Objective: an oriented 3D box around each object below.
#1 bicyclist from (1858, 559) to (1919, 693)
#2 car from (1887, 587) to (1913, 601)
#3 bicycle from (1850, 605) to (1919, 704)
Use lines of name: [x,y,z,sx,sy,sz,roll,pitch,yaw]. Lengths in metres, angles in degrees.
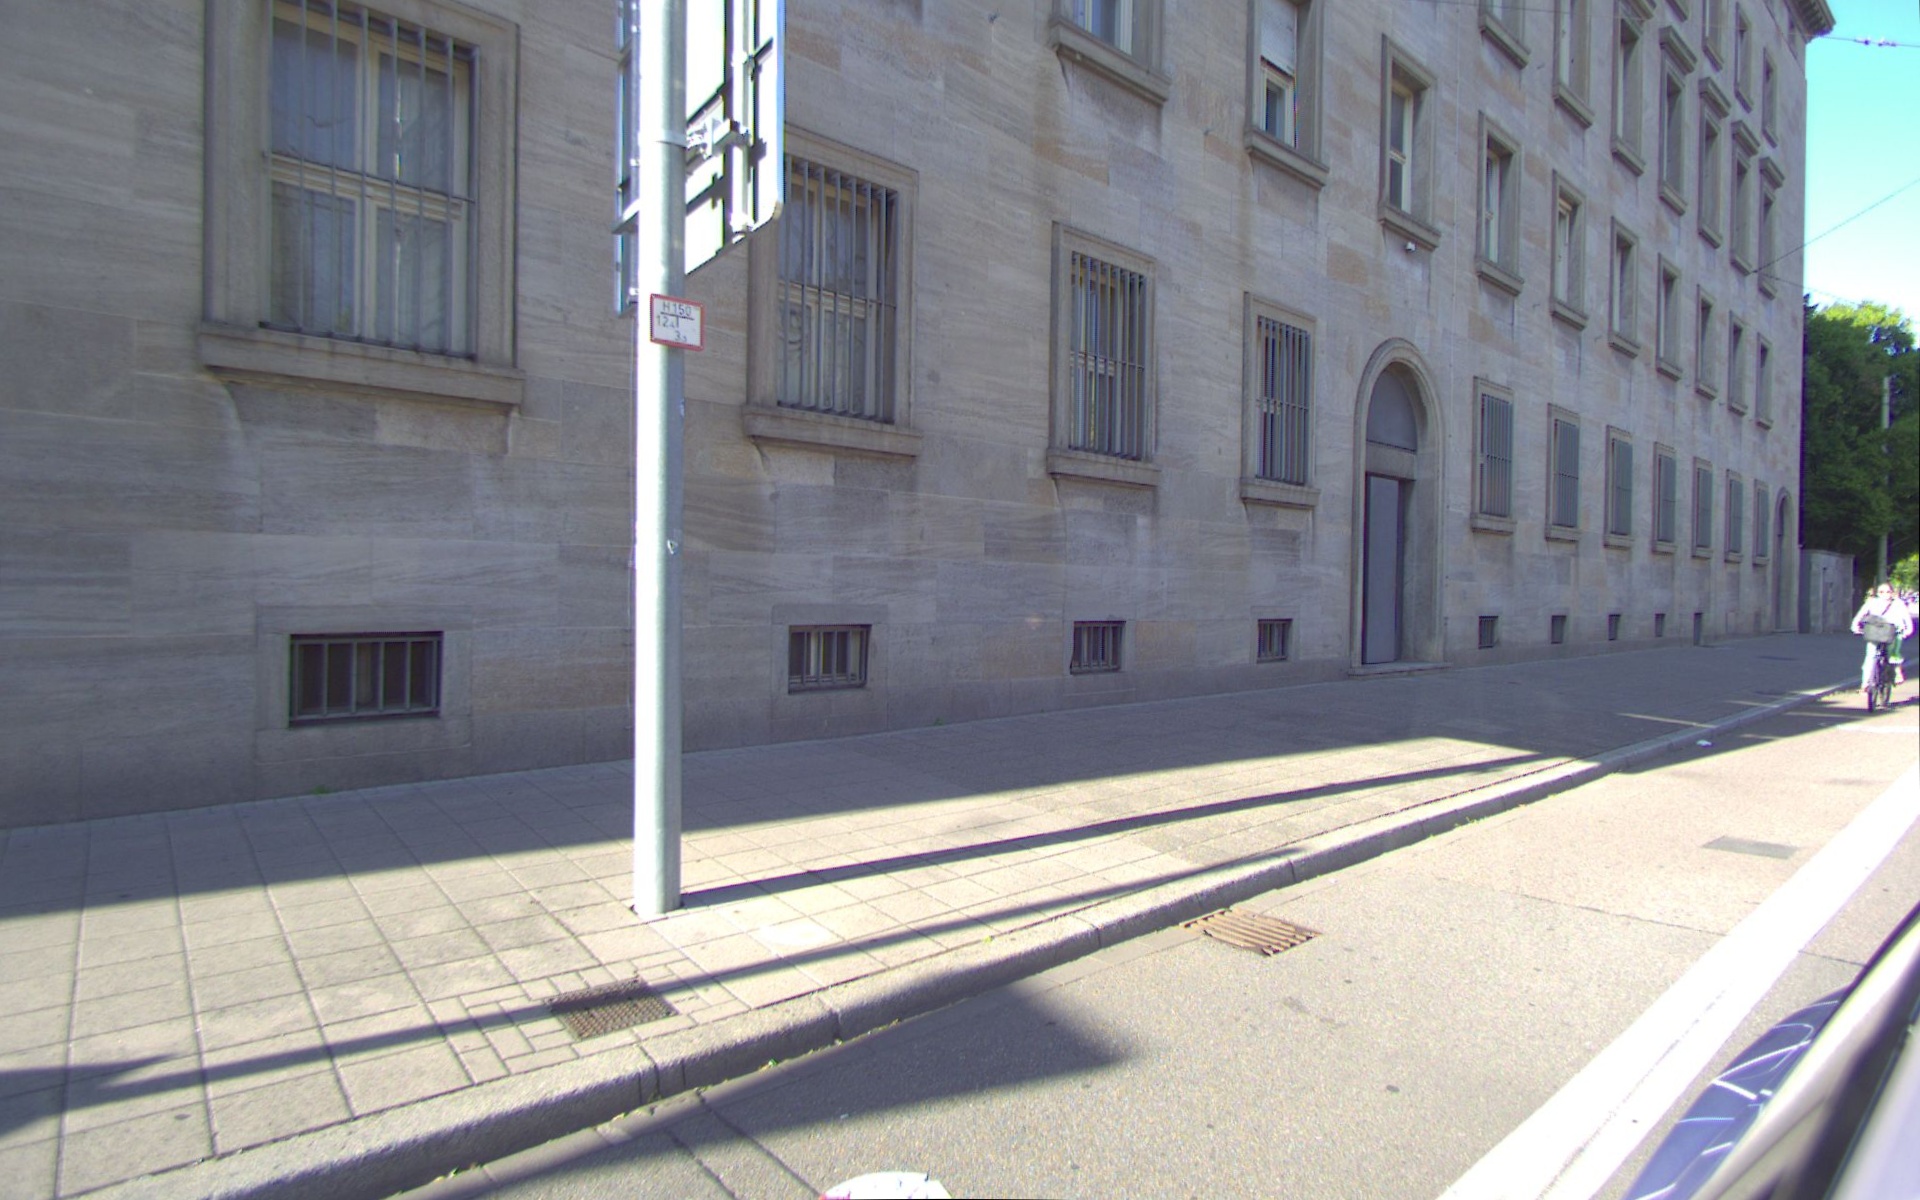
bicyclist: [12.690,0.344,13.743,0.676,1.761,0.624,0,-1,-41]
car: [127.251,-0.785,136.996,1.987,1.821,3.949,1,1,35]
bicycle: [12.549,0.699,13.613,1.630,1.236,0.624,0,-1,-41]
